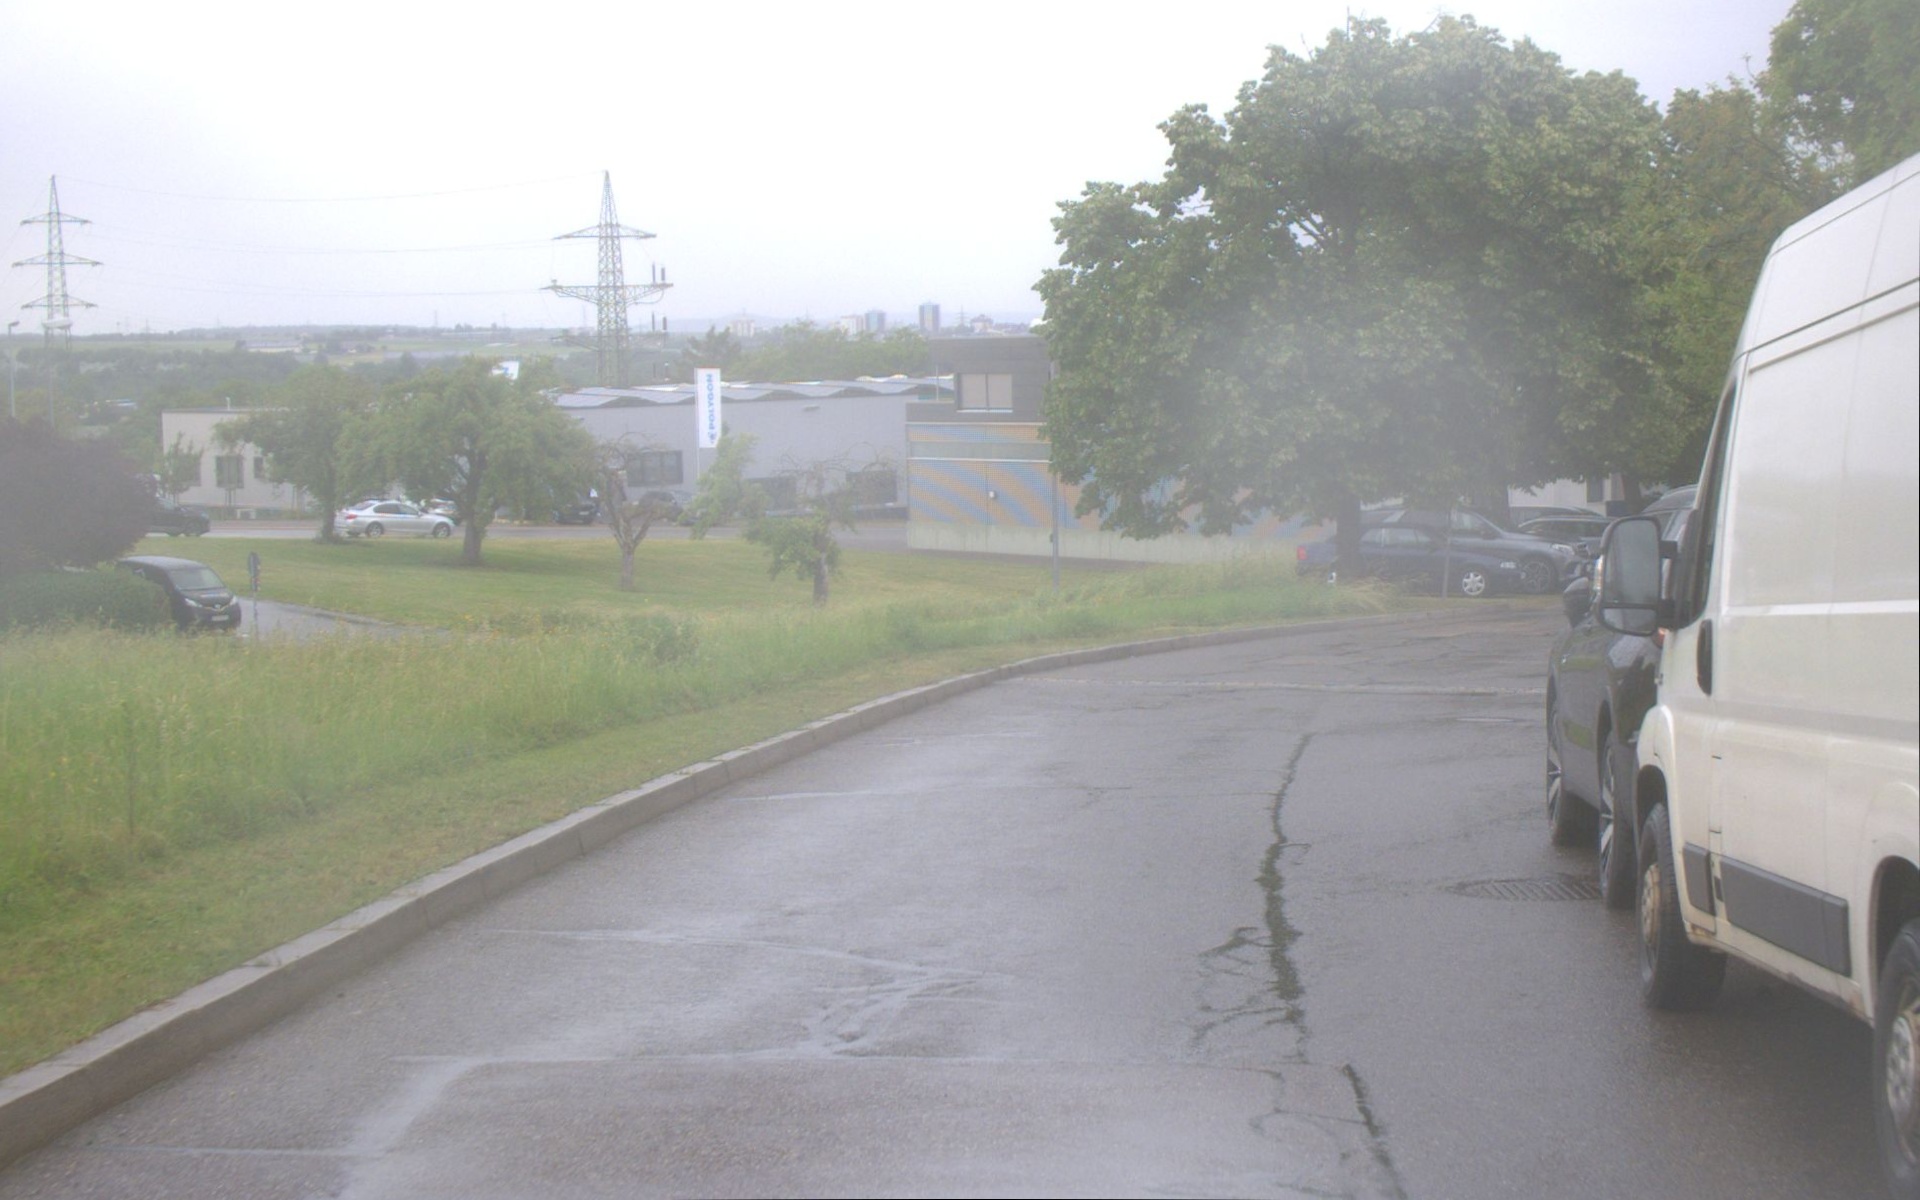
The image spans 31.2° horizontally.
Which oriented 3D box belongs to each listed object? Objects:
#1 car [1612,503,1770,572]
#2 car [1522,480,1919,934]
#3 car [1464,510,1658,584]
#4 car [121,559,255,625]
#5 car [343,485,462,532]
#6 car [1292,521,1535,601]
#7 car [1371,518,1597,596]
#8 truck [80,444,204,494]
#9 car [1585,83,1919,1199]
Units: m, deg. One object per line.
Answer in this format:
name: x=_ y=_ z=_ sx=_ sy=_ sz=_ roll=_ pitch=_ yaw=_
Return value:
car: x=18.203 y=-1.557 z=85.592 sx=3.565 sy=1.600 sz=1.691 roll=-1 pitch=1 yaw=22
car: x=3.565 y=0.328 z=15.167 sx=1.809 sy=1.697 sz=4.598 roll=0 pitch=2 yaw=5
car: x=12.855 y=-1.143 z=73.451 sx=3.873 sy=1.542 sz=1.772 roll=0 pitch=1 yaw=18
car: x=-20.416 y=-0.234 z=90.820 sx=1.776 sy=1.591 sz=3.999 roll=-3 pitch=3 yaw=-40
car: x=-22.074 y=-3.624 z=136.124 sx=4.262 sy=1.696 sz=1.797 roll=0 pitch=4 yaw=-34
car: x=8.448 y=-0.732 z=64.010 sx=4.169 sy=1.350 sz=1.861 roll=-1 pitch=1 yaw=19
car: x=10.055 y=-0.824 z=65.922 sx=3.990 sy=1.356 sz=1.852 roll=-1 pitch=1 yaw=19
truck: x=-39.721 y=-6.371 z=167.059 sx=5.312 sy=2.301 sz=2.435 roll=-1 pitch=4 yaw=-34
car: x=3.139 y=0.101 z=9.152 sx=2.118 sy=2.459 sz=5.510 roll=0 pitch=1 yaw=2
